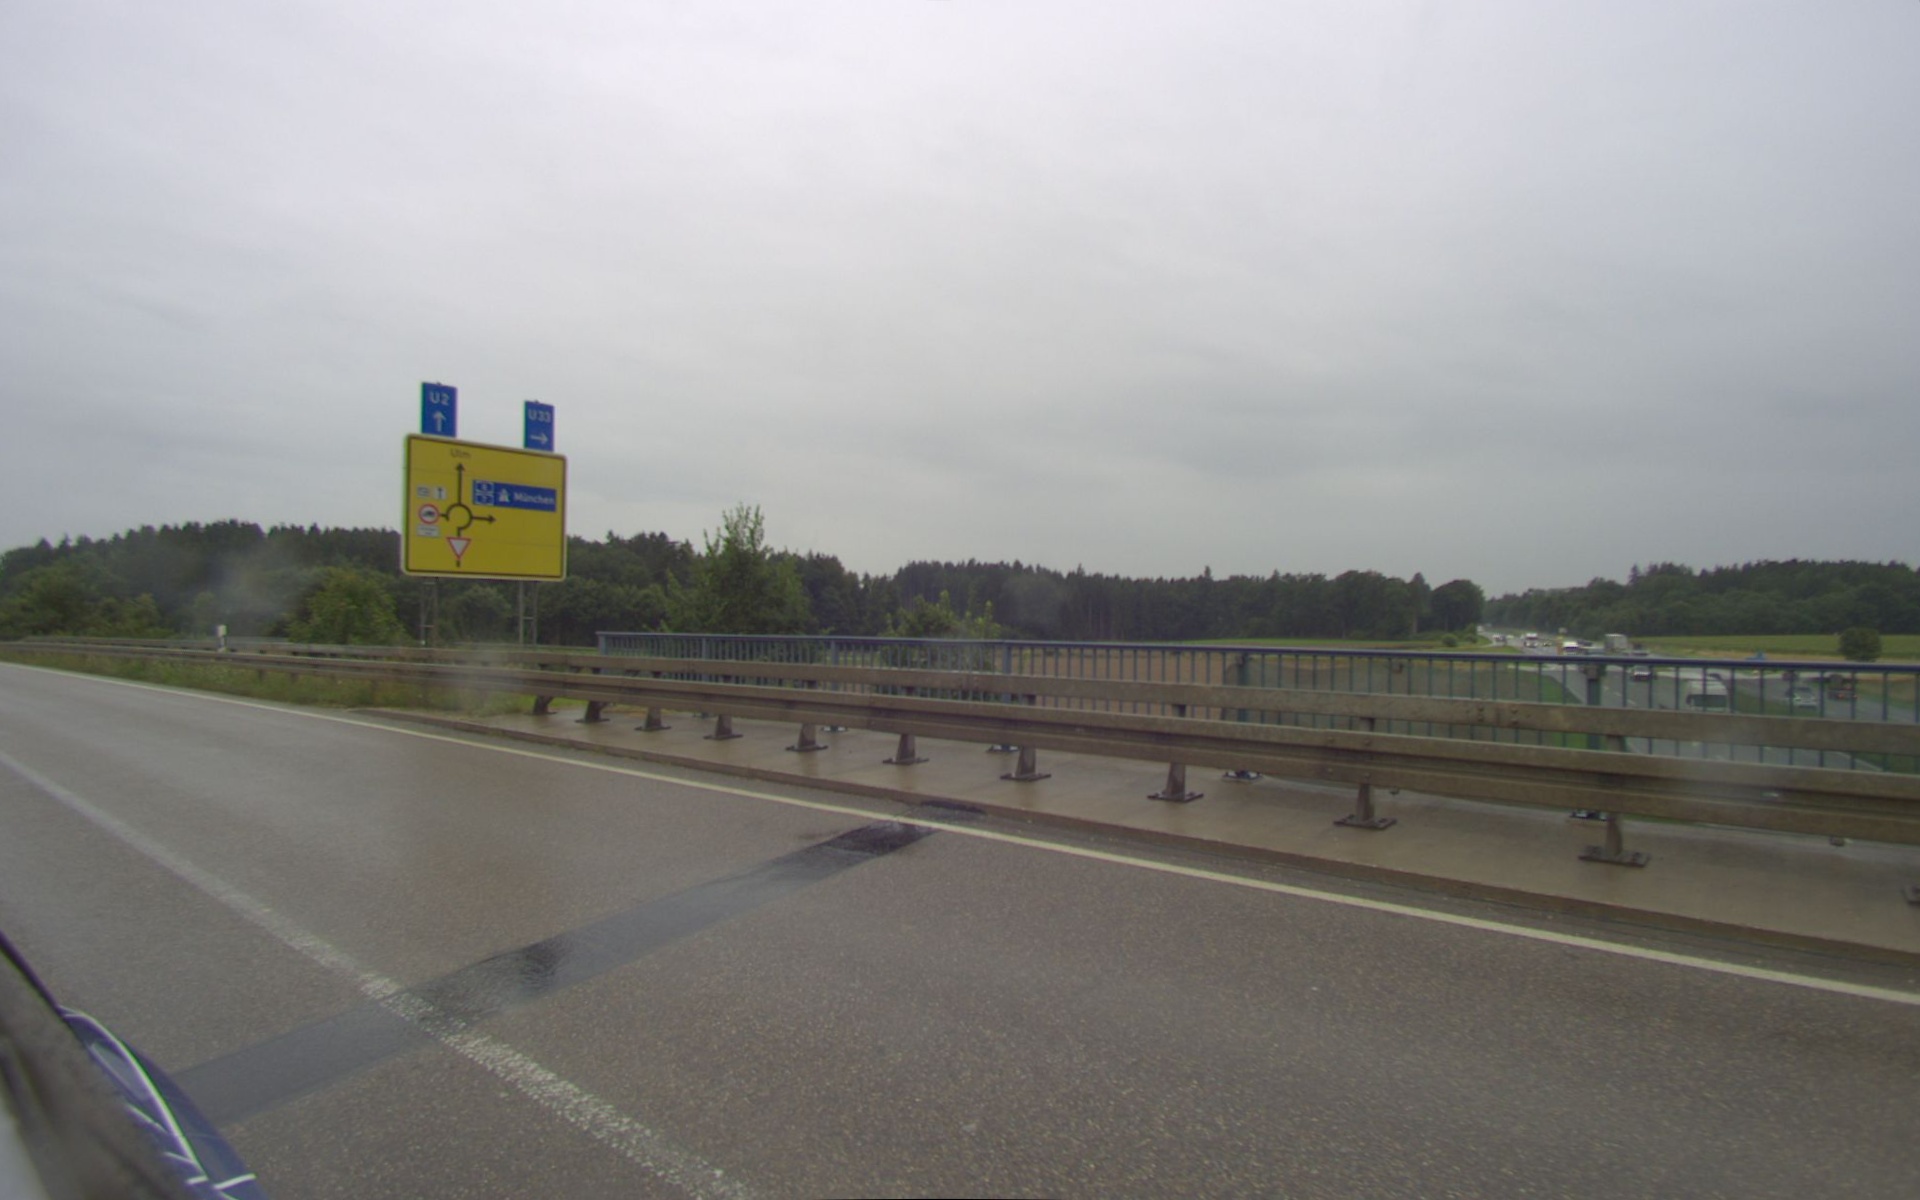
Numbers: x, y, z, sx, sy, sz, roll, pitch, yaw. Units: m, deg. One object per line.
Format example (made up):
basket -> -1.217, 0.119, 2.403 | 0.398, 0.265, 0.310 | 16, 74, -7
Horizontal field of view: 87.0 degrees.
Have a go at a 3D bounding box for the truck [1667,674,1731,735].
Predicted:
truck -> 59.866, 8.324, 82.232 | 2.774, 3.899, 10.540 | 0, 0, 28

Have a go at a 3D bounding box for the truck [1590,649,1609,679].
truck -> 98.558, 9.777, 155.910 | 2.233, 3.727, 9.743 | -2, 1, 33
